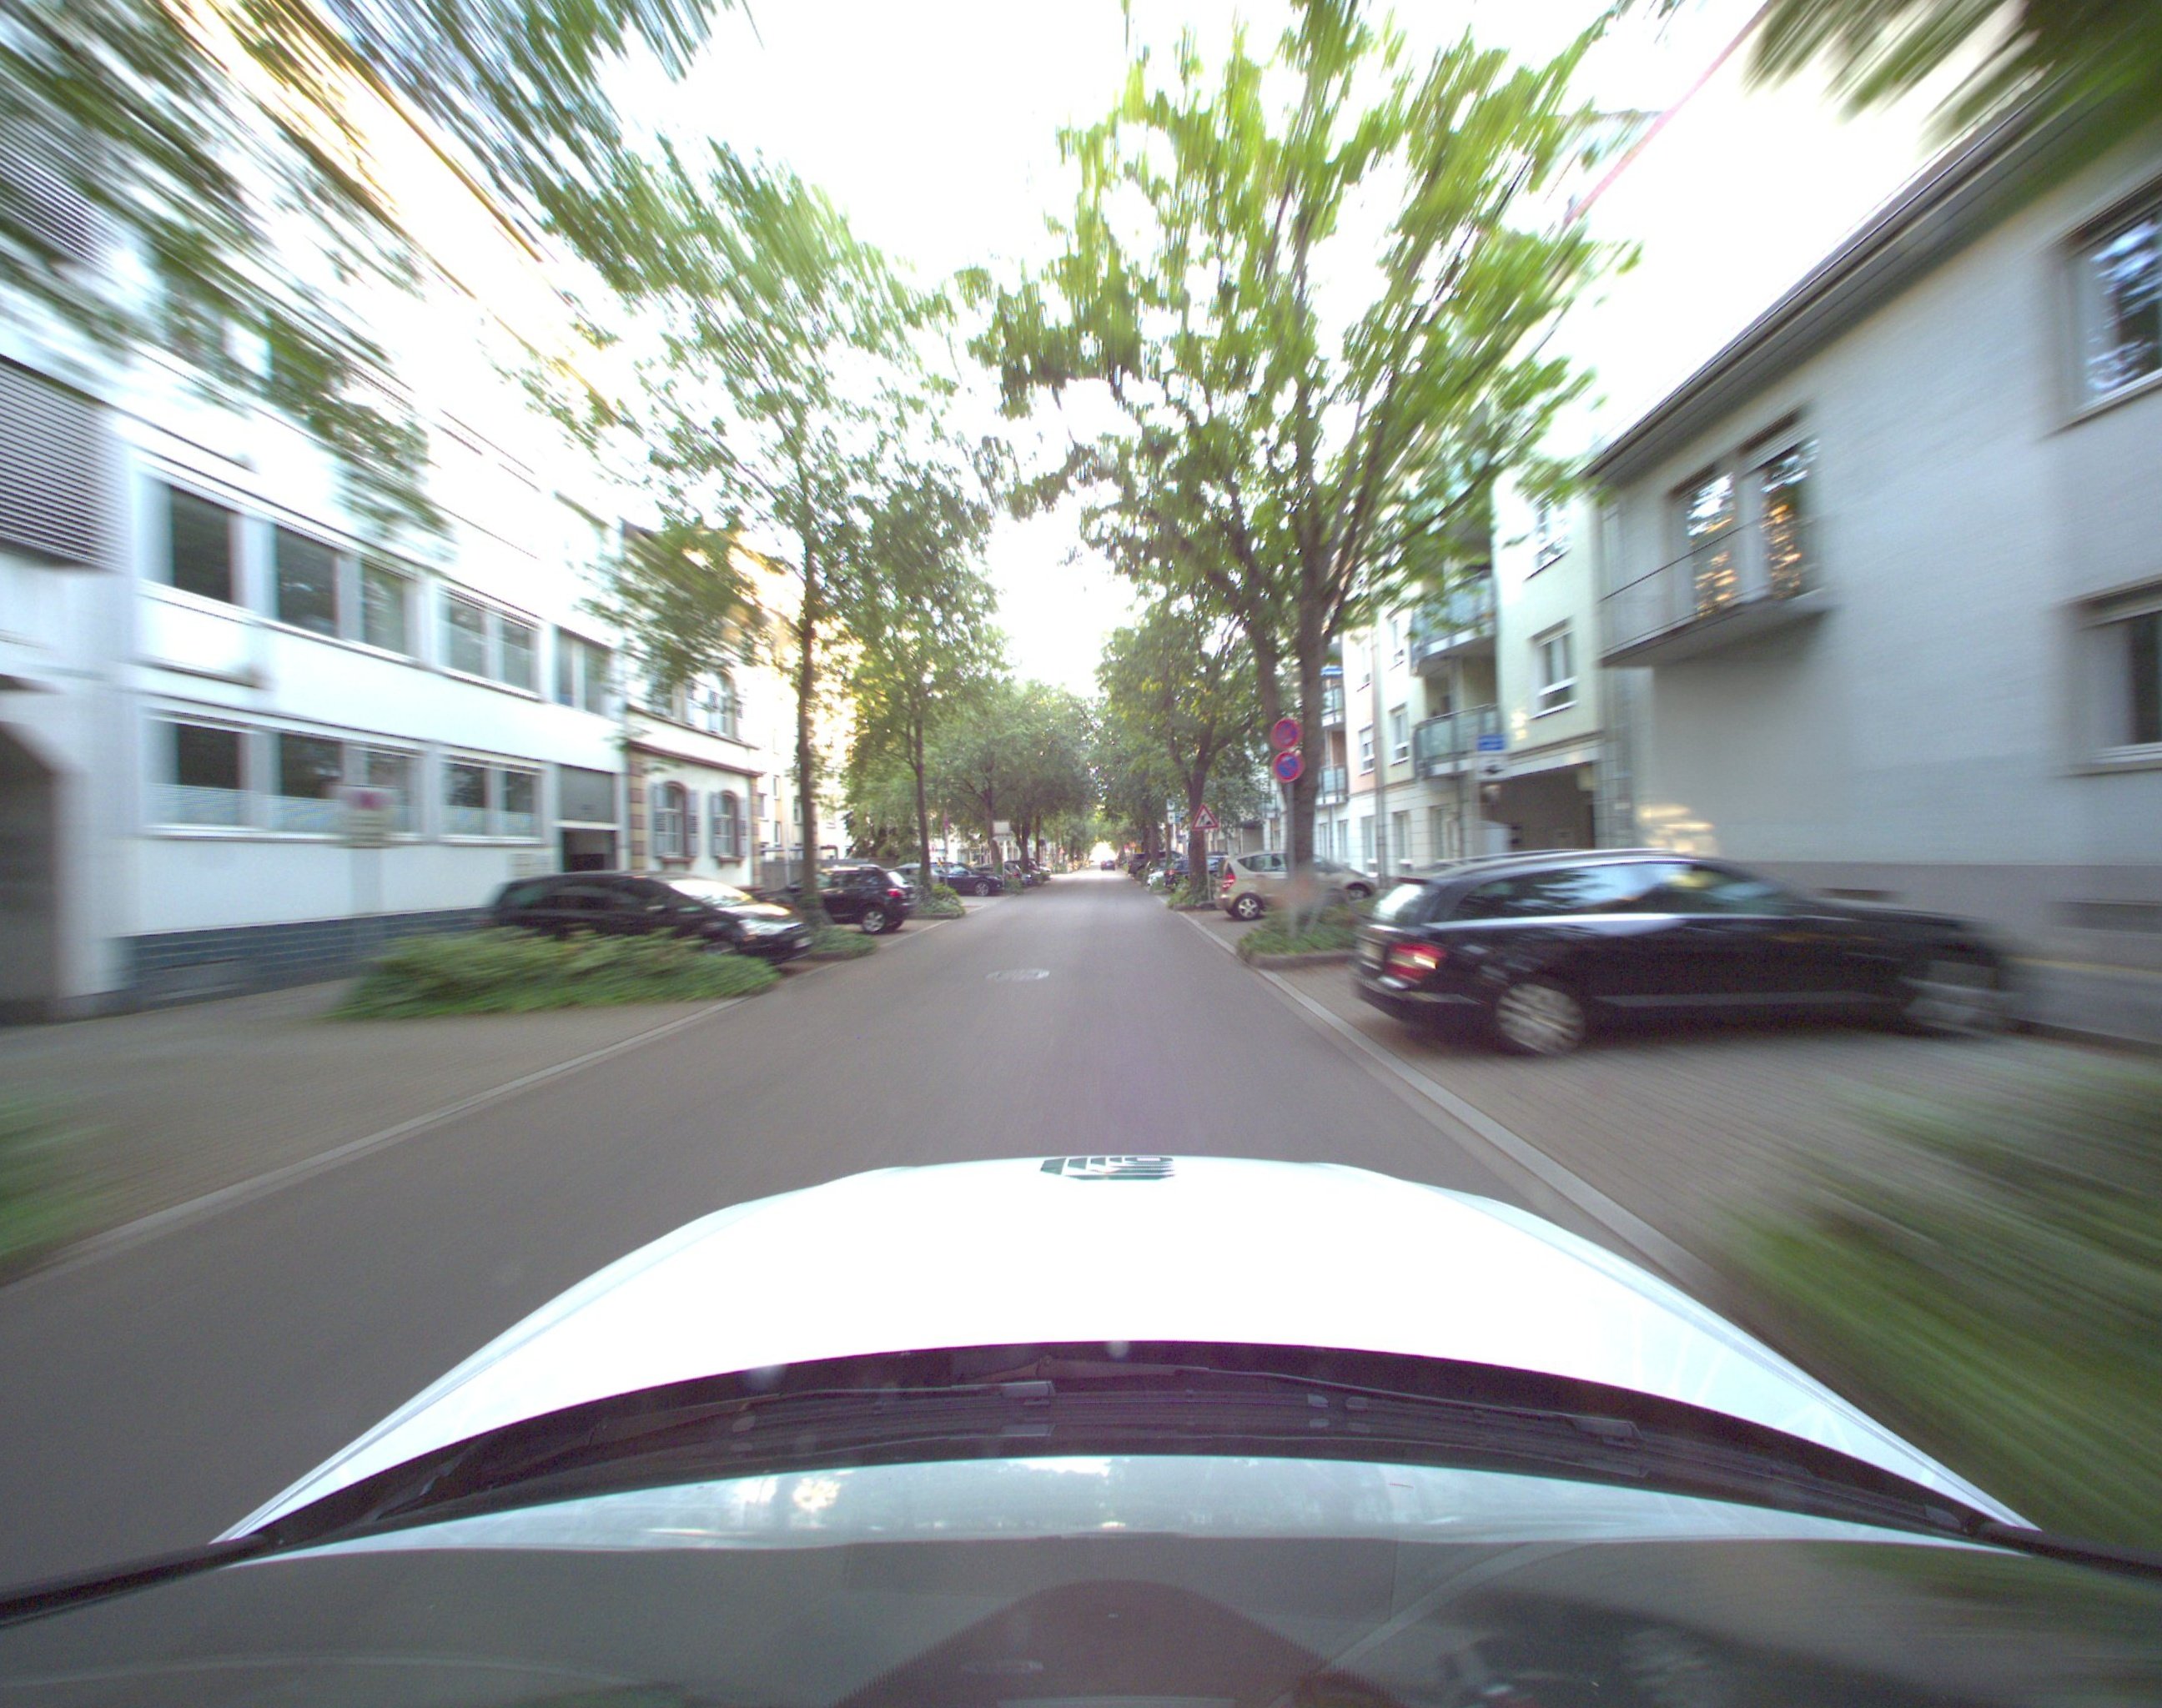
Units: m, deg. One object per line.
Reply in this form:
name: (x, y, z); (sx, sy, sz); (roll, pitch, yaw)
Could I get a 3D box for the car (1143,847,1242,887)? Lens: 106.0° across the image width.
car: (5.418, 0.648, 39.959); (4.557, 1.552, 1.773); (-5, -1, 0)

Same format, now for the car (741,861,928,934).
car: (-5.959, 1.033, 20.043); (3.975, 1.588, 1.827); (-2, 0, -1)

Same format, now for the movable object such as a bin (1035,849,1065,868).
movable object such as a bin: (-3.979, 0.588, 105.866); (3.654, 2.333, 2.583); (-2, -1, 0)

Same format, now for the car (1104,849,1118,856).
car: (8.848, -0.380, 238.053); (3.970, 2.014, 2.002); (-2, -1, 3)

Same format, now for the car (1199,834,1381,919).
car: (4.977, 0.530, 19.816); (3.848, 1.667, 1.926); (-4, 0, 1)

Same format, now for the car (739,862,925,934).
car: (-6.042, 1.048, 20.069); (3.973, 1.591, 1.789); (-1, 0, 1)

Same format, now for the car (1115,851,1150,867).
car: (7.474, 0.675, 118.041); (4.953, 2.087, 1.738); (-2, -1, 1)

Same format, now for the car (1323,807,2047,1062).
car: (4.379, 0.593, 6.554); (4.336, 1.470, 1.734); (-5, 0, 6)

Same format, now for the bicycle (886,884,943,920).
bicycle: (-4.916, 1.407, 24.111); (1.562, 0.937, 0.481); (-2, 0, -22)

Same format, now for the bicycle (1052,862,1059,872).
bicycle: (-2.850, 1.428, 91.173); (0.599, 1.118, 1.800); (-3, -1, 2)

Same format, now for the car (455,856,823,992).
car: (-6.424, 0.974, 12.218); (4.524, 1.682, 1.620); (-2, 0, -2)

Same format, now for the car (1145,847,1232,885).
car: (5.907, 0.655, 44.995); (4.379, 1.703, 1.891); (-5, -1, -7)

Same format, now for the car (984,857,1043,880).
car: (-5.190, 1.120, 63.009); (4.382, 1.684, 2.063); (0, 0, -1)

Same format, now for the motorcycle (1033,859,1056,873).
motorcycle: (-3.900, 1.276, 87.850); (2.391, 1.441, 0.792); (-2, -1, -39)

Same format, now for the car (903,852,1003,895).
car: (-6.125, 0.924, 39.374); (4.402, 1.892, 2.000); (-1, 0, 1)

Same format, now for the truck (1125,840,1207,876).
truck: (6.544, 0.278, 63.140); (5.983, 2.133, 2.261); (-6, -1, 1)

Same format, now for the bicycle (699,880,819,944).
bicycle: (-5.690, 1.018, 14.441); (1.895, 1.025, 0.479); (-2, 0, 0)

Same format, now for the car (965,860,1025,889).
car: (-5.216, 1.217, 49.479); (3.394, 1.609, 1.760); (-2, 0, -1)

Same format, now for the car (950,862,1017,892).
car: (-5.286, 1.238, 44.262); (3.394, 1.442, 1.594); (-2, 0, -1)

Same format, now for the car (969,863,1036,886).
car: (-4.919, 1.265, 51.581); (4.087, 1.379, 1.746); (-1, 0, -1)

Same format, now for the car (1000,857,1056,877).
car: (-4.417, 1.092, 67.969); (4.481, 1.581, 2.056); (0, -1, 2)

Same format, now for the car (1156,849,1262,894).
car: (5.259, 0.700, 33.862); (3.978, 1.474, 1.912); (-5, 0, -3)

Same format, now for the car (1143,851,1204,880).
car: (6.046, 0.751, 53.443); (3.654, 1.548, 1.780); (-5, -2, -1)

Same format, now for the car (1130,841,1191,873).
car: (6.415, 0.230, 65.859); (4.603, 2.133, 2.037); (-6, -1, 1)

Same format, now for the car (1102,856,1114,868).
car: (3.530, 1.051, 107.483); (1.495, 1.416, 3.715); (-2, 0, 2)
